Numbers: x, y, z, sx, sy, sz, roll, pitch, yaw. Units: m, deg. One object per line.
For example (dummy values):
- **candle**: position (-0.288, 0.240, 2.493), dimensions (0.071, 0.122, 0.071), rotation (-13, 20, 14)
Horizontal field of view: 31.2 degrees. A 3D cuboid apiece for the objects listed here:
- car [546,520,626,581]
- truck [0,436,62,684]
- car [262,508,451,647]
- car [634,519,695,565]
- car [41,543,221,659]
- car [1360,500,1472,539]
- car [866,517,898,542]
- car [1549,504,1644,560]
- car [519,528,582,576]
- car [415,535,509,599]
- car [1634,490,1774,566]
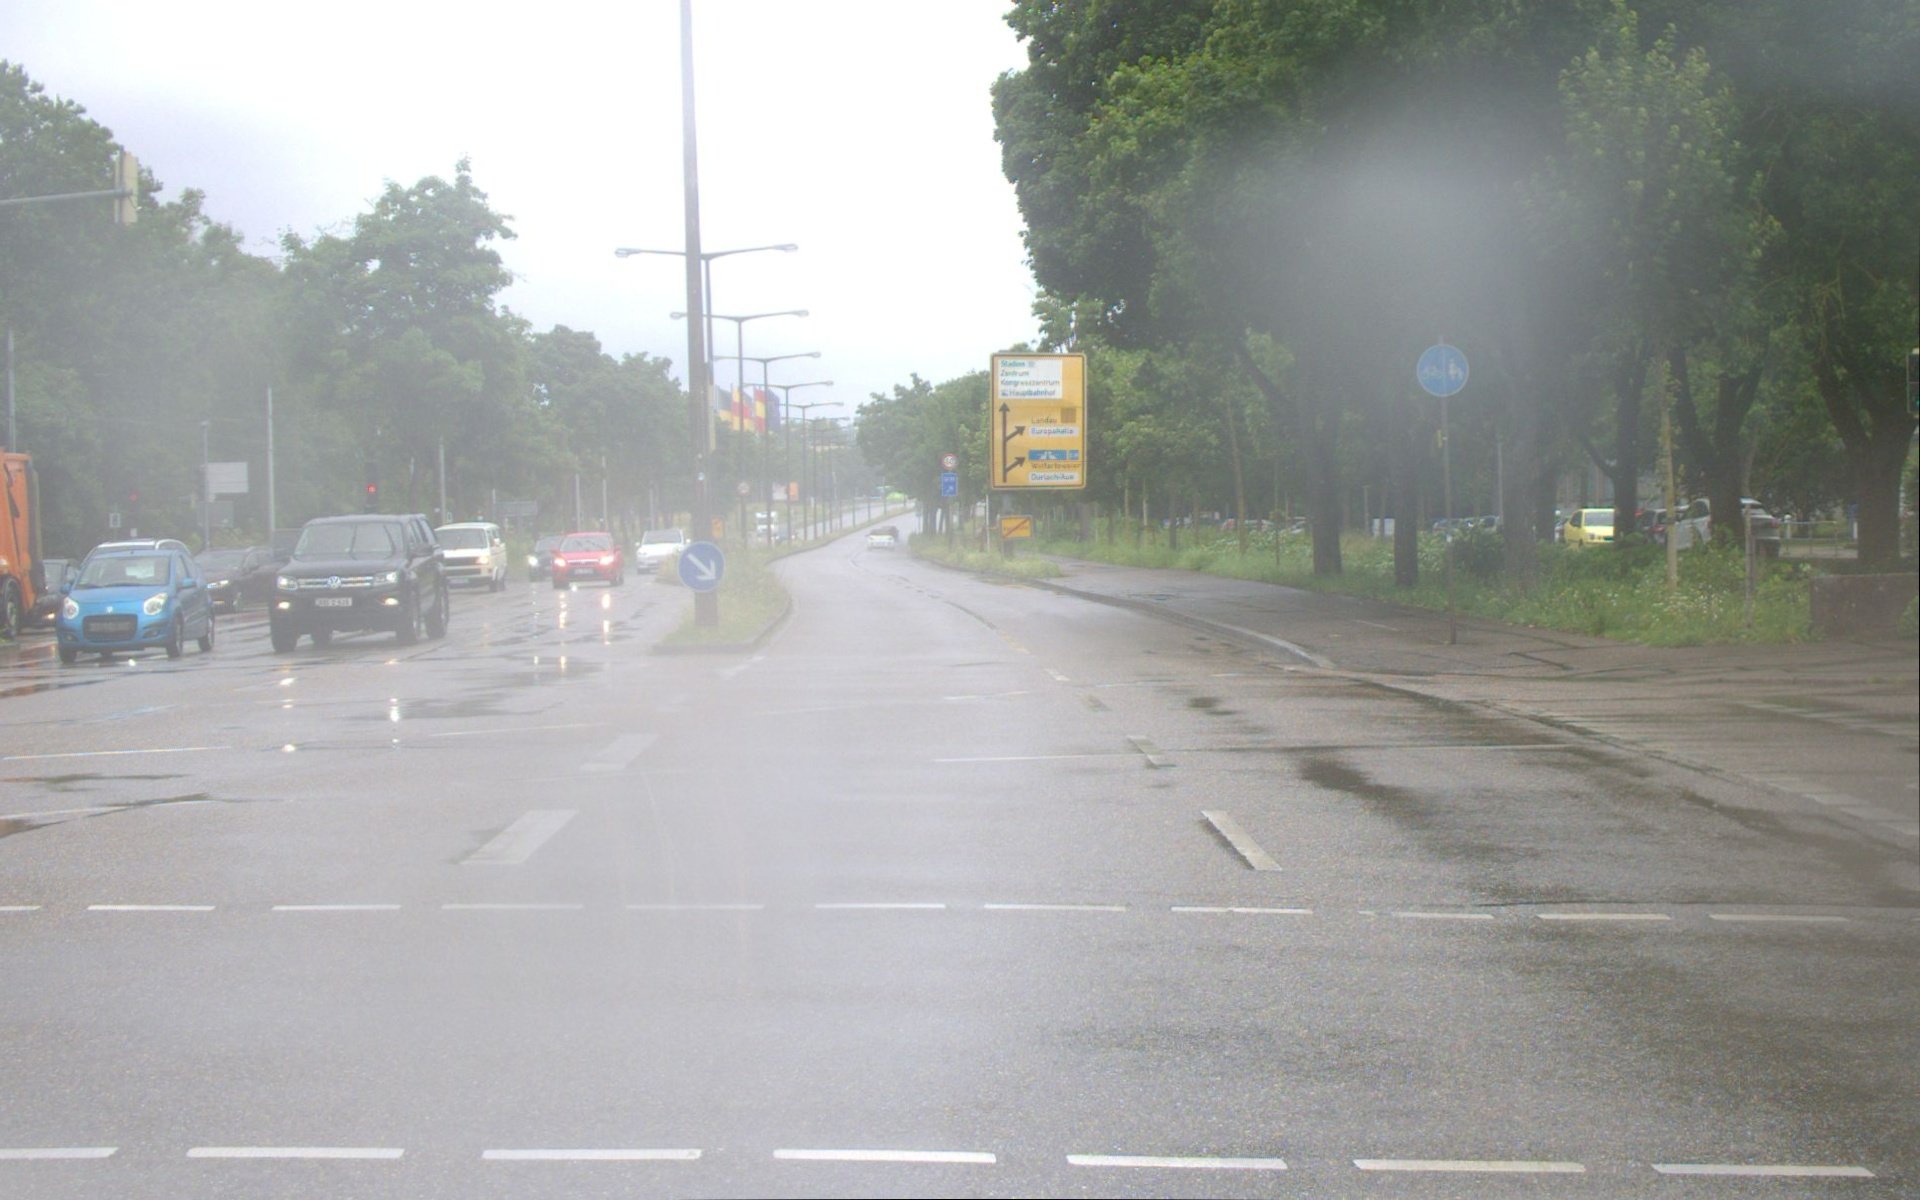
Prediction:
- **car**: position (-10.264, -1.352, 94.615), dimensions (1.801, 1.564, 4.429), rotation (-3, 1, -2)
- **truck**: position (-17.734, -0.671, 56.569), dimensions (3.385, 4.153, 10.407), rotation (1, 1, -1)
- **car**: position (-8.368, -0.358, 48.062), dimensions (1.805, 1.767, 5.090), rotation (-2, 1, -1)
- **car**: position (-11.068, -2.198, 129.168), dimensions (1.961, 1.611, 4.698), rotation (-2, 1, -1)
- **car**: position (-11.306, -0.015, 47.113), dimensions (1.641, 1.422, 4.001), rotation (-3, 1, -3)
- **car**: position (20.204, -3.569, 152.458), dimensions (4.568, 1.639, 2.000), rotation (1, 1, -6)
- **car**: position (-4.836, -4.405, 214.553), dimensions (1.907, 1.509, 4.000), rotation (-1, 1, -1)
- **car**: position (17.693, -1.882, 95.732), dimensions (1.637, 1.481, 4.073), rotation (1, 1, -3)
- **car**: position (-14.692, -1.740, 123.483), dimensions (1.707, 1.636, 4.331), rotation (-3, 1, -1)
- **car**: position (-13.386, -0.913, 92.637), dimensions (1.894, 1.605, 4.500), rotation (-1, 1, -1)
- **car**: position (17.745, -1.714, 82.245), dimensions (1.993, 1.711, 4.879), rotation (-2, 1, -3)
